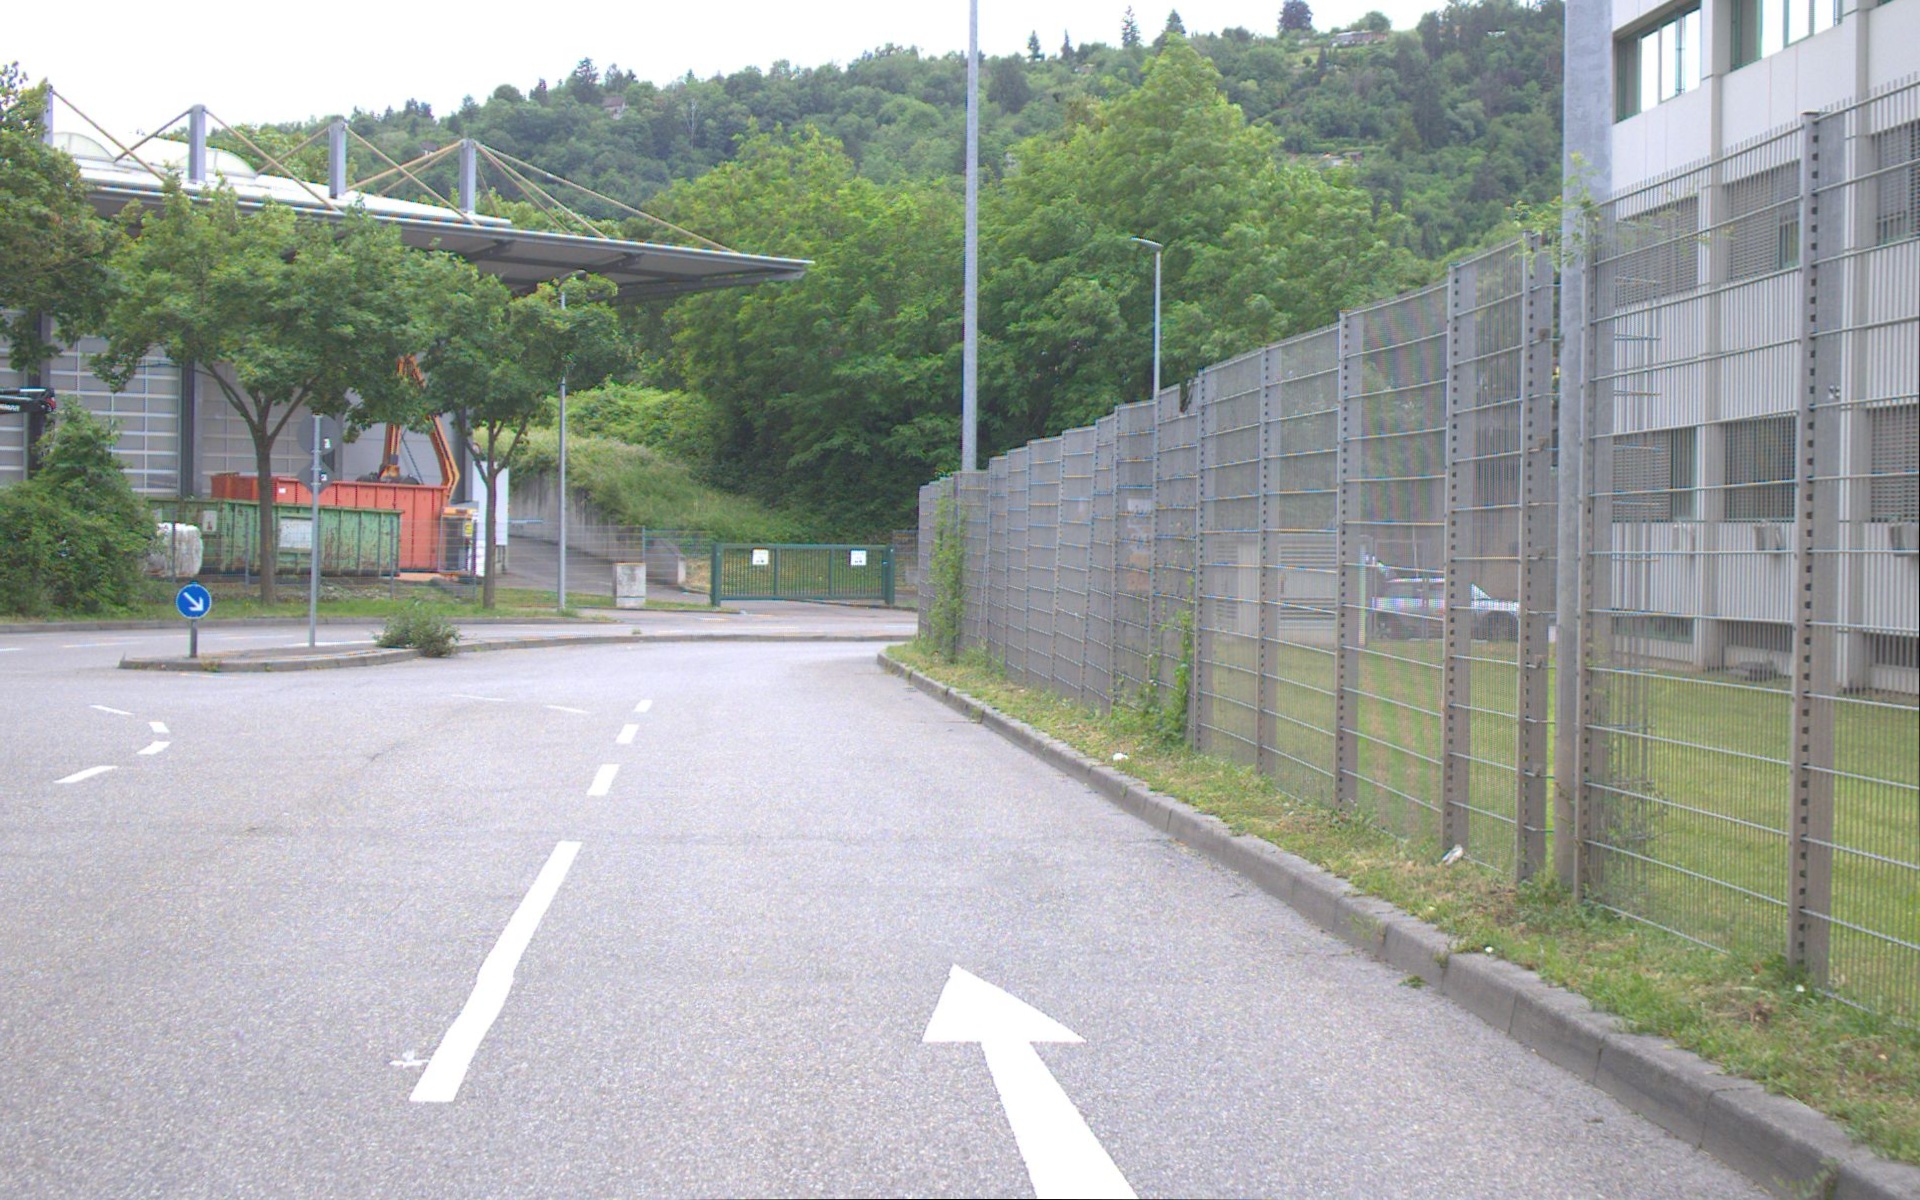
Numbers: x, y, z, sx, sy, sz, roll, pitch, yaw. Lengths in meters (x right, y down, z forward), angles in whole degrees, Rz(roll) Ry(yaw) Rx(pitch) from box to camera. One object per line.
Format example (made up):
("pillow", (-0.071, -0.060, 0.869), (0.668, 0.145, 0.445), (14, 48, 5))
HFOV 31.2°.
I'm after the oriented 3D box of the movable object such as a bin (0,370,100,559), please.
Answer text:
("movable object such as a bin", (-22.012, -2.931, 74.553), (2.729, 4.077, 6.541), (1, 1, 30))
